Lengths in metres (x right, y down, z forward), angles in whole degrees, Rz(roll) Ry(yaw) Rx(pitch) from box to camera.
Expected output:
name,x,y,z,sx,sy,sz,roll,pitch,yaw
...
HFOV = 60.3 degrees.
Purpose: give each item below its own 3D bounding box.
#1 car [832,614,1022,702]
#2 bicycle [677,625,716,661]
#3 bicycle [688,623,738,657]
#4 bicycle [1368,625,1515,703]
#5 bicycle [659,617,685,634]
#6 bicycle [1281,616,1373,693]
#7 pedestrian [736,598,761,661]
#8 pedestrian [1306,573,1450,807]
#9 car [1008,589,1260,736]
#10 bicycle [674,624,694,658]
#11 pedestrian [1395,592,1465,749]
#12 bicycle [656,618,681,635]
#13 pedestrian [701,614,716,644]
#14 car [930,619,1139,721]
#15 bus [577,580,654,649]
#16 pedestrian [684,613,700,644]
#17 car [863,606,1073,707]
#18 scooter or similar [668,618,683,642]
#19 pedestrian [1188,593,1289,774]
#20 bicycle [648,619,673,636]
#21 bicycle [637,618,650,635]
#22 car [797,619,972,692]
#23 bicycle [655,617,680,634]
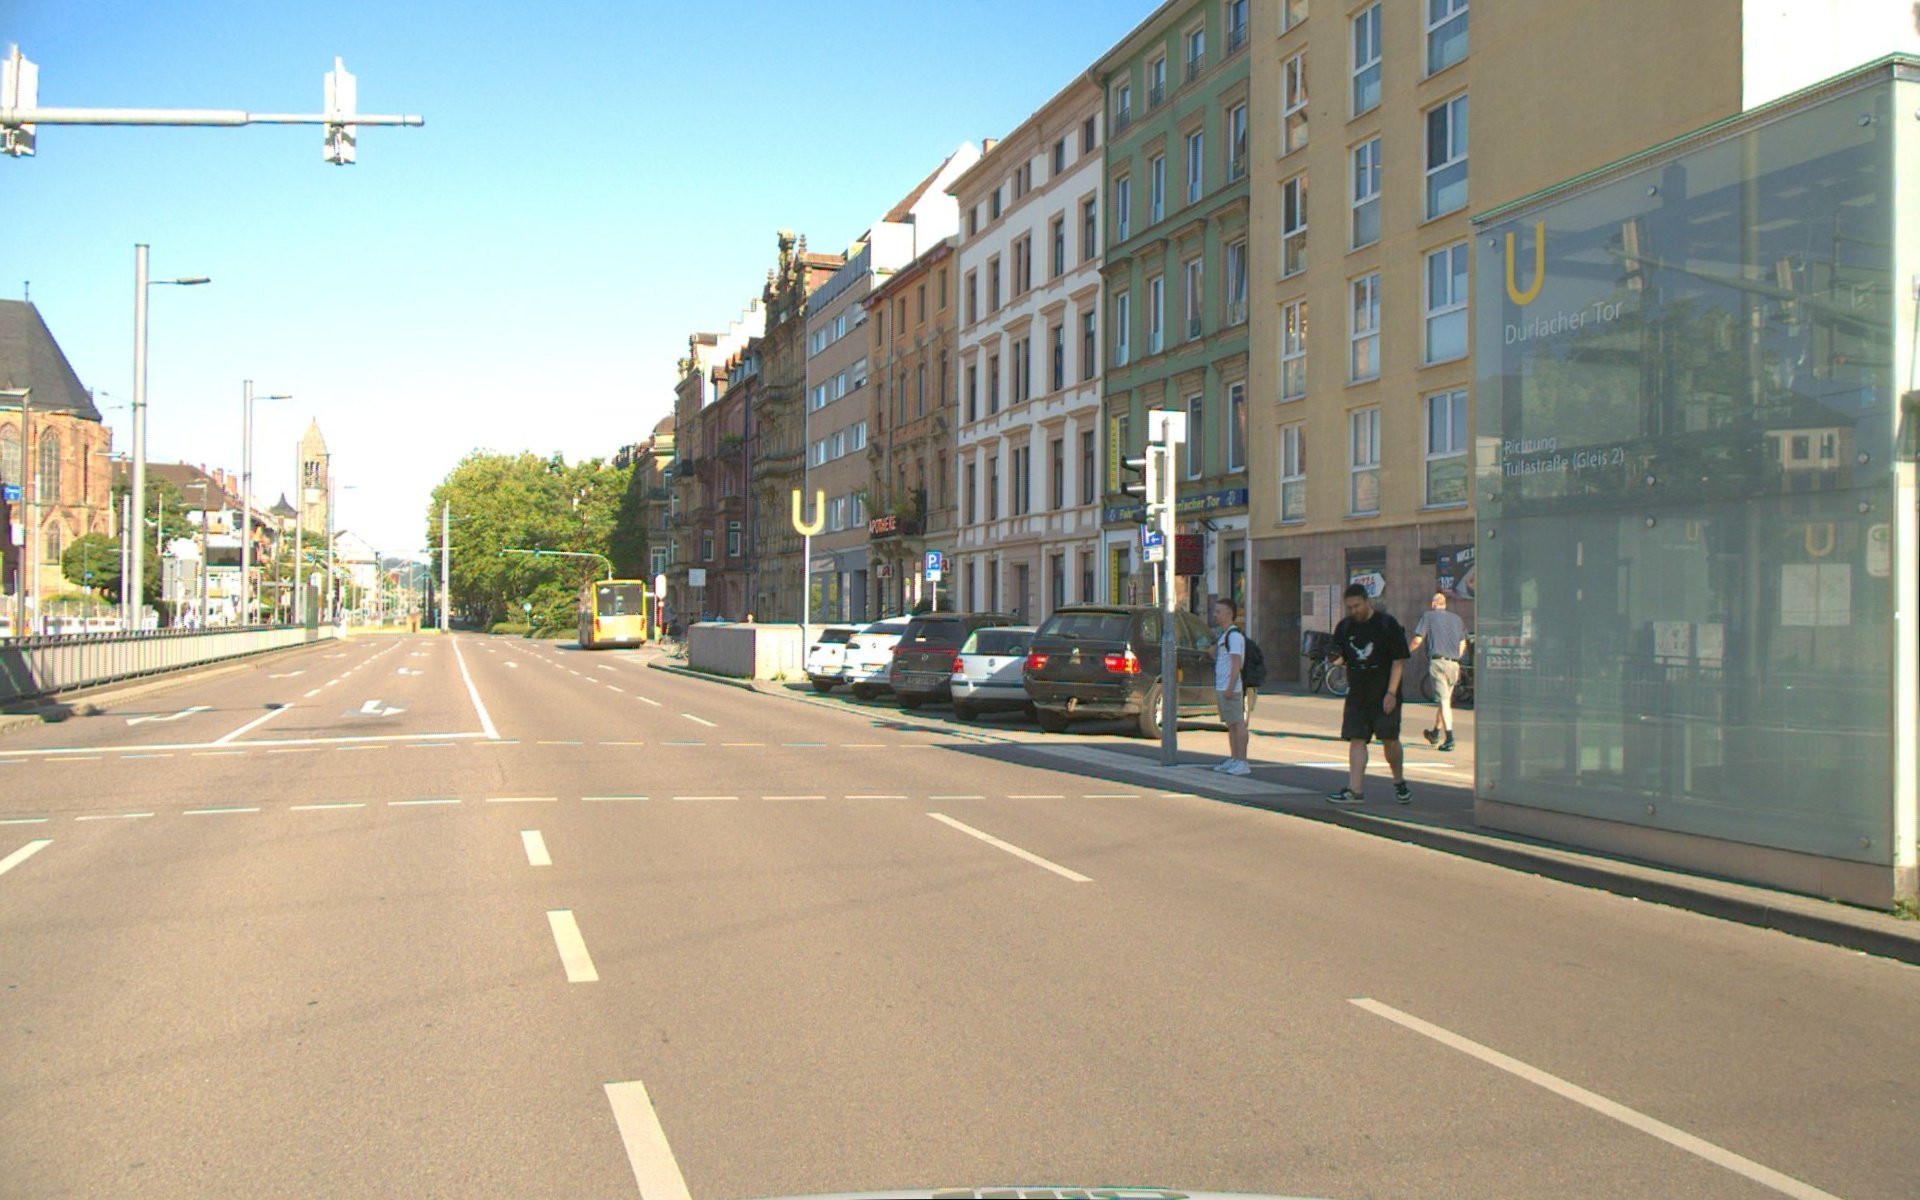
name,x,y,z,sx,sy,sz,roll,pitch,yaw
car,-0.580,1.129,32.810,1.917,1.598,4.244,1,-1,28
bicycle,-9.087,1.472,57.018,0.466,1.167,1.745,1,0,-40
bicycle,-9.020,1.480,60.477,1.737,1.208,0.468,1,0,-18
bicycle,8.531,1.106,29.502,0.970,1.286,3.045,1,-1,-18
bicycle,-21.974,1.960,126.160,1.863,1.260,0.485,-1,-2,-31
bicycle,7.363,1.076,33.326,0.914,1.380,2.221,0,2,-14
pedestrian,-7.071,0.987,55.222,0.739,2.048,0.695,-1,2,-17
pedestrian,3.301,0.681,13.057,0.854,1.758,0.790,0,-1,41
car,2.555,0.849,23.309,1.918,1.846,4.241,1,-1,31
bicycle,-9.930,1.462,59.574,0.461,1.167,1.762,1,0,-17
pedestrian,5.839,0.857,20.537,0.683,1.899,0.751,0,-1,30
bicycle,-22.408,2.022,127.226,1.863,1.260,0.485,-1,-2,-31
pedestrian,-16.275,1.883,106.974,0.809,1.964,1.131,0,-1,-18
car,1.246,1.101,25.974,1.749,1.424,3.886,1,-2,28
bus,-17.775,0.741,84.794,2.672,3.237,12.479,-1,0,-17
pedestrian,-17.395,1.858,107.334,0.809,1.964,1.131,0,-1,-18
car,0.237,0.980,29.327,1.917,1.626,4.244,1,-1,29
scooter or similar,-15.290,1.610,88.832,0.426,1.271,1.283,-1,-1,-27
pedestrian,2.787,0.811,16.565,0.689,1.758,0.744,1,-1,-34
bicycle,-23.282,2.155,128.623,1.863,1.260,0.485,-1,-2,-31
bicycle,-24.862,2.101,129.868,0.483,1.260,1.873,-1,-2,-26
car,-1.589,1.174,36.315,1.919,1.489,4.104,0,-1,31
bicycle,-22.612,1.998,127.774,1.863,1.260,0.485,-1,-2,-31
